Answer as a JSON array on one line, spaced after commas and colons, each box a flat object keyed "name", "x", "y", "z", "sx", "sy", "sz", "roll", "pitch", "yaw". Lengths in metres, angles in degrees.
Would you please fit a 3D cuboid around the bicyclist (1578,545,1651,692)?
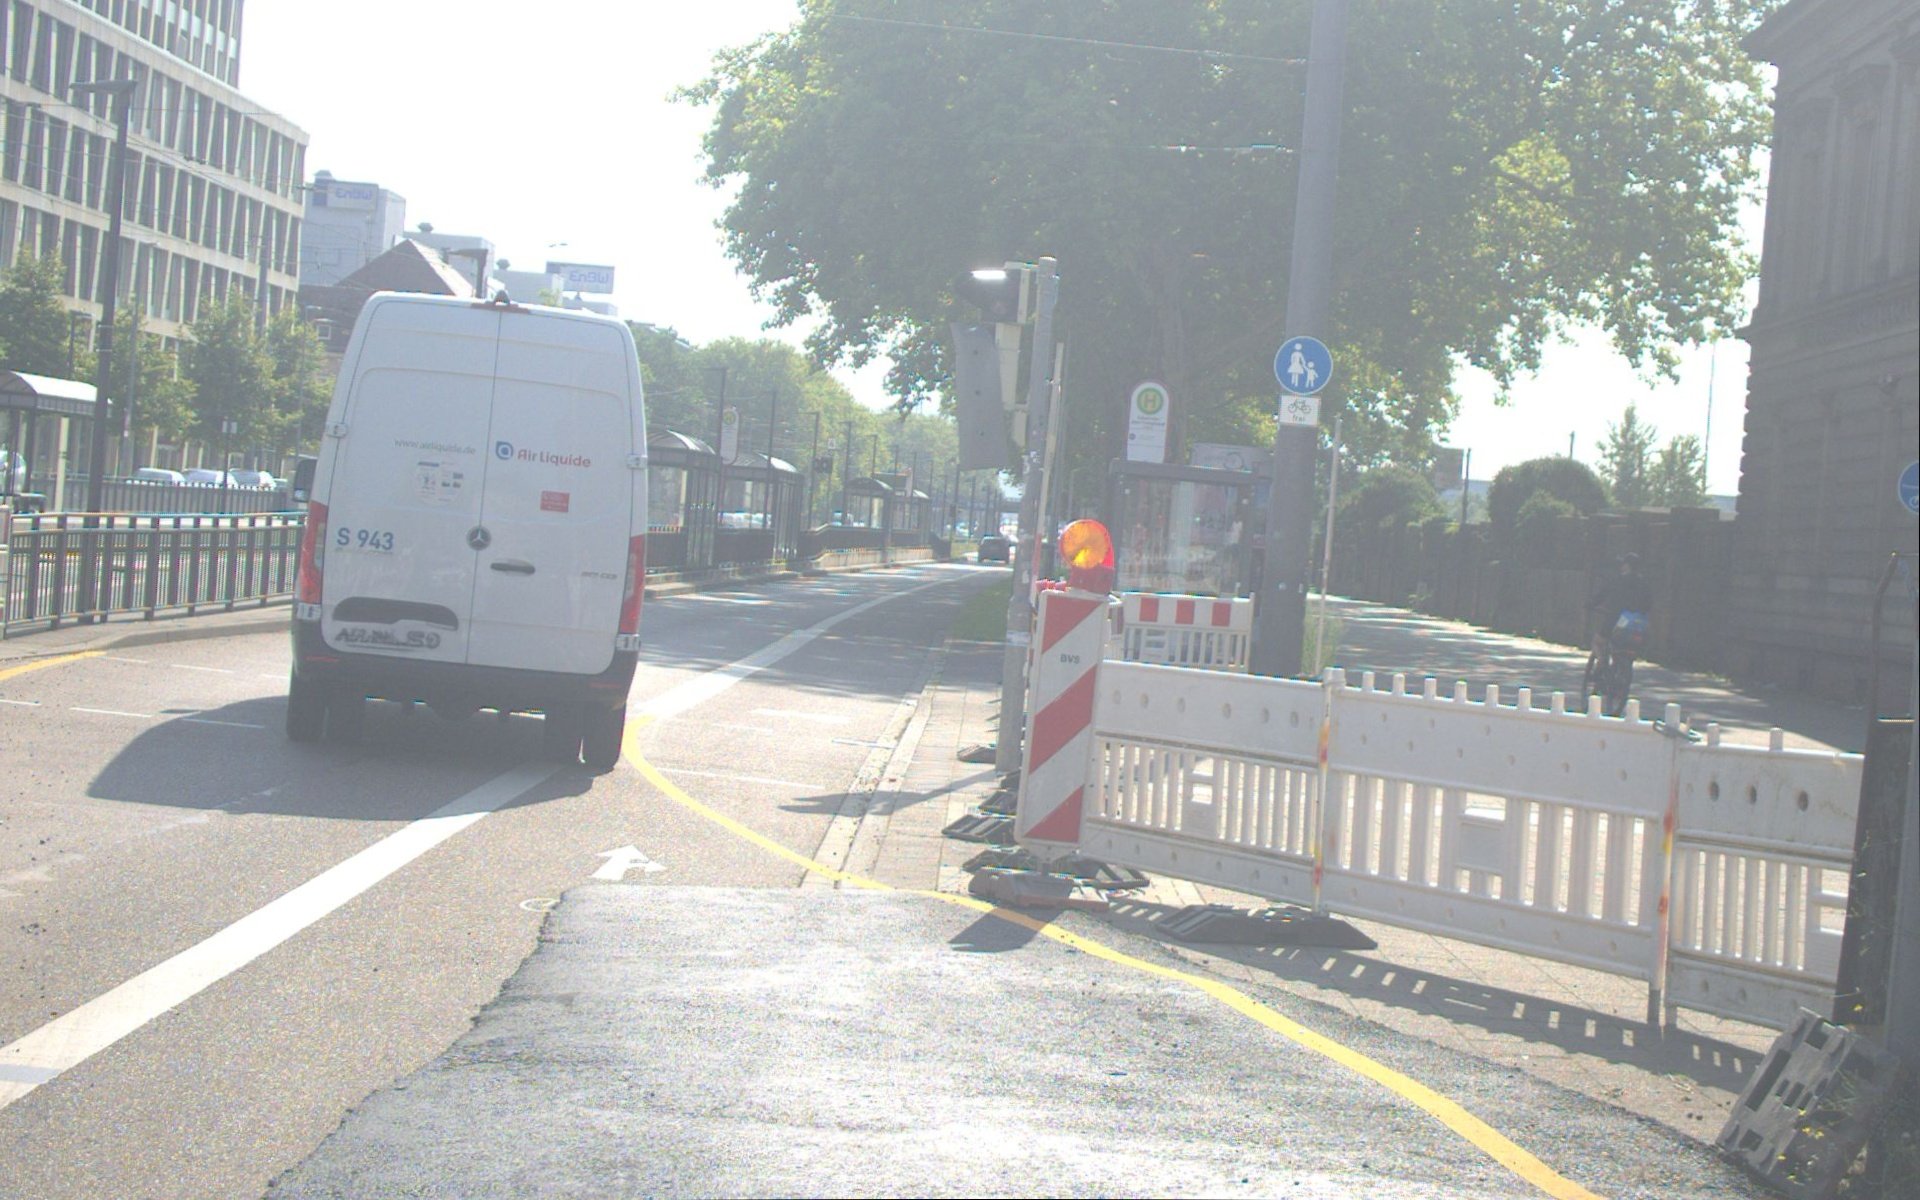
[{"name": "bicyclist", "x": 7.091, "y": 0.191, "z": 37.260, "sx": 0.469, "sy": 1.534, "sz": 0.596, "roll": 5, "pitch": 1, "yaw": -8}]

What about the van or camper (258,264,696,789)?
[{"name": "van or camper", "x": -3.041, "y": -0.488, "z": 21.563, "sx": 2.115, "sy": 2.672, "sz": 5.252, "roll": 6, "pitch": 1, "yaw": -9}]

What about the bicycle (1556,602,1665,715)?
[{"name": "bicycle", "x": 7.047, "y": 0.622, "z": 37.298, "sx": 0.491, "sy": 1.085, "sz": 1.858, "roll": 5, "pitch": 1, "yaw": -8}]
